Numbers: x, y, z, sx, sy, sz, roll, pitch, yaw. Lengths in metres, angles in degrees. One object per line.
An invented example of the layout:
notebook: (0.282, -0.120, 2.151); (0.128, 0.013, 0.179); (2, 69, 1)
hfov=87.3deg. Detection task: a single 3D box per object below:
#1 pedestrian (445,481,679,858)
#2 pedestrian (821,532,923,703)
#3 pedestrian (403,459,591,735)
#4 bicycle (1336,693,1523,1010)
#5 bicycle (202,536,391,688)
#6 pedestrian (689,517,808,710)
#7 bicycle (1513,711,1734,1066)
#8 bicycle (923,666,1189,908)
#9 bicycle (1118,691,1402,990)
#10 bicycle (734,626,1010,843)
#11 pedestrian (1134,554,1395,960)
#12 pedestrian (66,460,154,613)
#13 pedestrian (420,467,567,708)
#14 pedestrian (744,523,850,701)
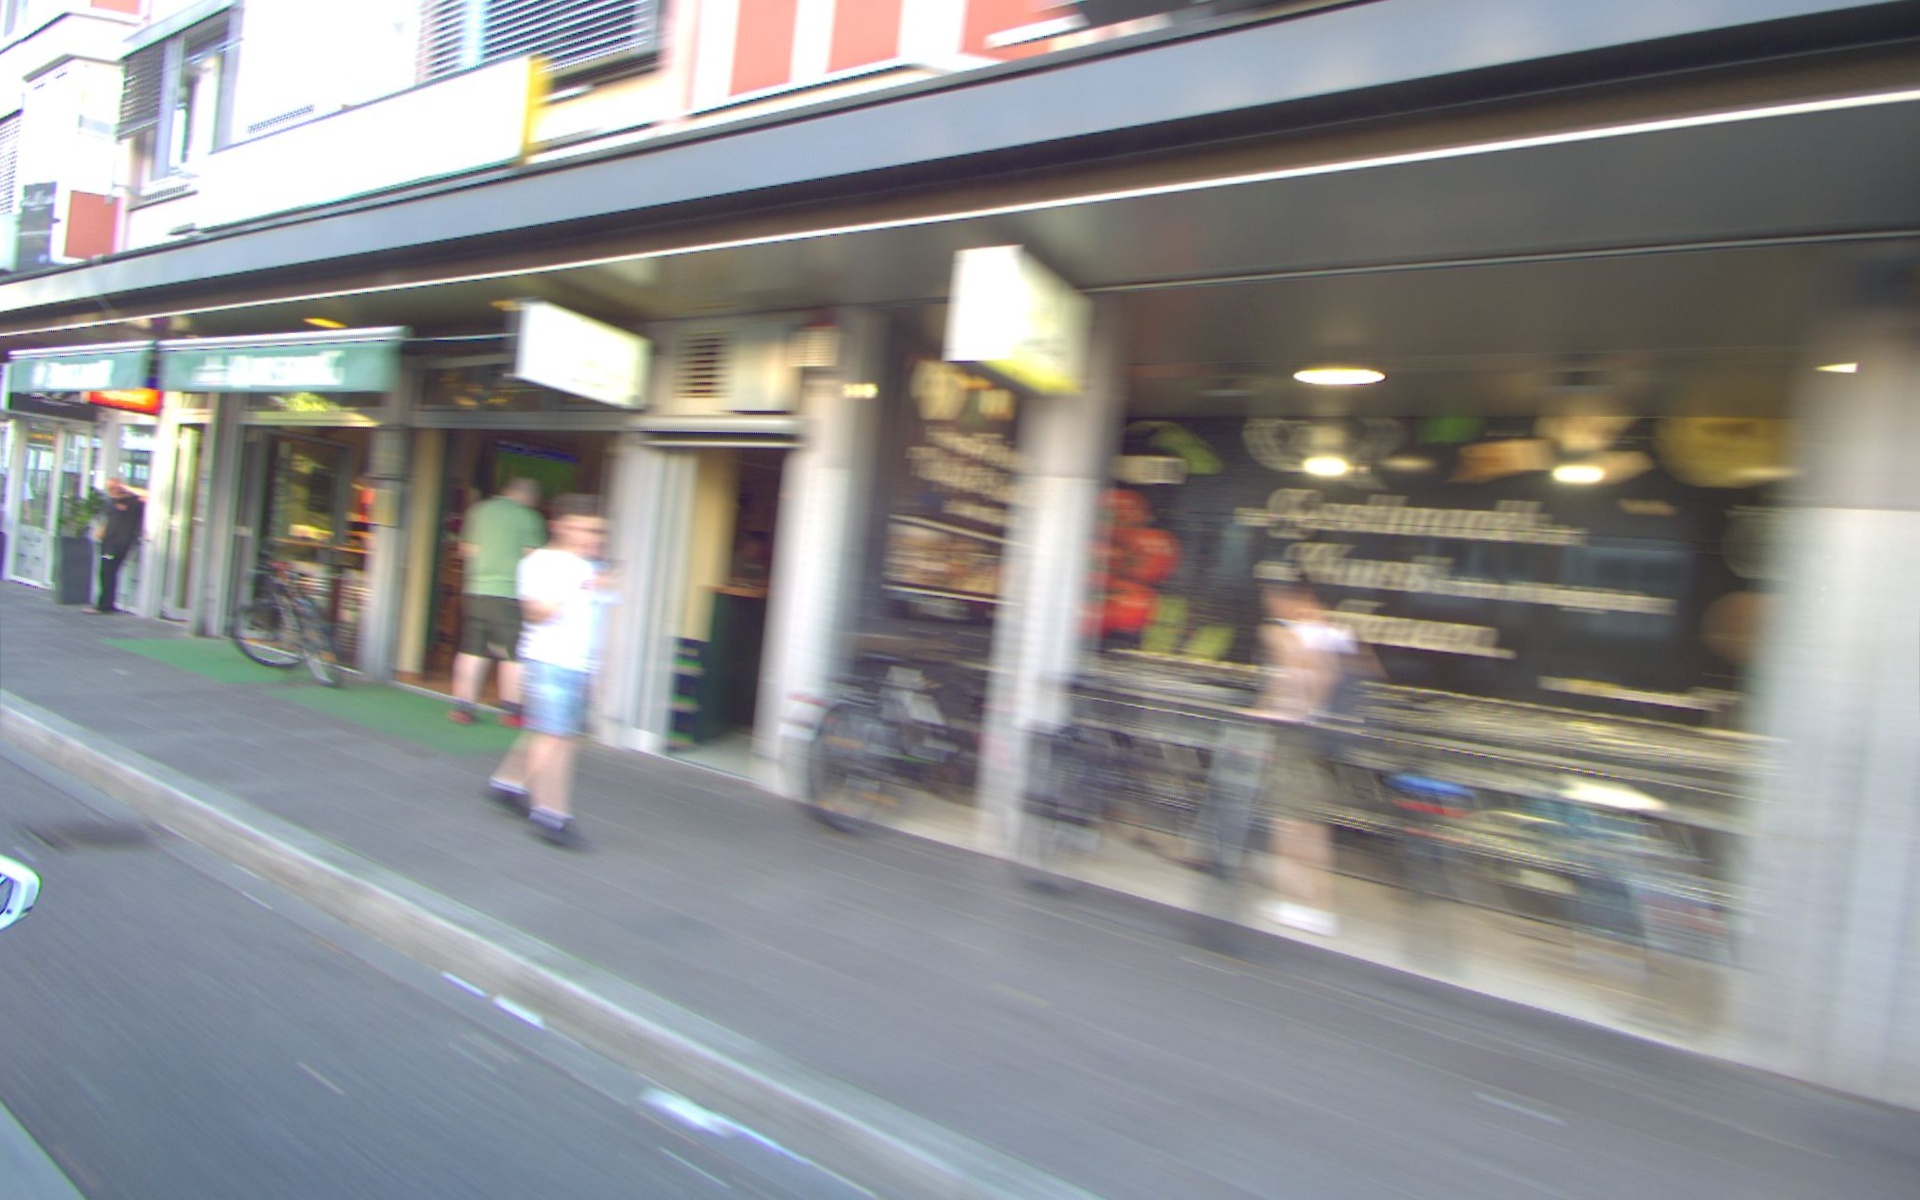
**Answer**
pedestrian: (-1.978, 0.312, 5.015); (0.758, 1.695, 0.632); (7, 2, 32)
pedestrian: (-1.023, 0.208, 11.689); (0.773, 1.891, 0.679); (4, 3, -40)
pedestrian: (-3.442, -0.035, 7.512); (0.766, 1.892, 0.914); (6, 4, 29)
bicycle: (2.325, 1.062, 4.852); (0.566, 1.074, 1.926); (7, 1, 29)
bicycle: (-5.681, 0.068, 8.584); (1.764, 1.082, 0.657); (7, 5, 32)
pedestrian: (-2.194, 0.136, 10.468); (0.737, 1.891, 0.776); (7, 2, 35)
bicycle: (2.883, 1.129, 4.525); (0.566, 1.074, 1.926); (7, 1, 29)
bicycle: (0.578, 0.892, 5.322); (0.498, 0.987, 1.728); (7, 3, 37)
bicycle: (1.555, 1.030, 4.919); (0.648, 0.986, 2.021); (8, 3, 34)
bicycle: (-0.452, 0.744, 6.182); (0.567, 1.074, 1.925); (7, 1, 31)
pedestrian: (1.479, 0.678, 4.851); (0.902, 1.685, 0.777); (6, 2, 30)
pedestrian: (-9.830, -0.722, 11.641); (0.460, 1.695, 0.542); (6, 2, 23)
pedestrian: (-3.936, -0.104, 8.531); (0.674, 1.891, 0.779); (6, 2, 12)
pedestrian: (-1.825, 0.136, 11.316); (0.676, 1.891, 0.776); (7, 2, 35)
